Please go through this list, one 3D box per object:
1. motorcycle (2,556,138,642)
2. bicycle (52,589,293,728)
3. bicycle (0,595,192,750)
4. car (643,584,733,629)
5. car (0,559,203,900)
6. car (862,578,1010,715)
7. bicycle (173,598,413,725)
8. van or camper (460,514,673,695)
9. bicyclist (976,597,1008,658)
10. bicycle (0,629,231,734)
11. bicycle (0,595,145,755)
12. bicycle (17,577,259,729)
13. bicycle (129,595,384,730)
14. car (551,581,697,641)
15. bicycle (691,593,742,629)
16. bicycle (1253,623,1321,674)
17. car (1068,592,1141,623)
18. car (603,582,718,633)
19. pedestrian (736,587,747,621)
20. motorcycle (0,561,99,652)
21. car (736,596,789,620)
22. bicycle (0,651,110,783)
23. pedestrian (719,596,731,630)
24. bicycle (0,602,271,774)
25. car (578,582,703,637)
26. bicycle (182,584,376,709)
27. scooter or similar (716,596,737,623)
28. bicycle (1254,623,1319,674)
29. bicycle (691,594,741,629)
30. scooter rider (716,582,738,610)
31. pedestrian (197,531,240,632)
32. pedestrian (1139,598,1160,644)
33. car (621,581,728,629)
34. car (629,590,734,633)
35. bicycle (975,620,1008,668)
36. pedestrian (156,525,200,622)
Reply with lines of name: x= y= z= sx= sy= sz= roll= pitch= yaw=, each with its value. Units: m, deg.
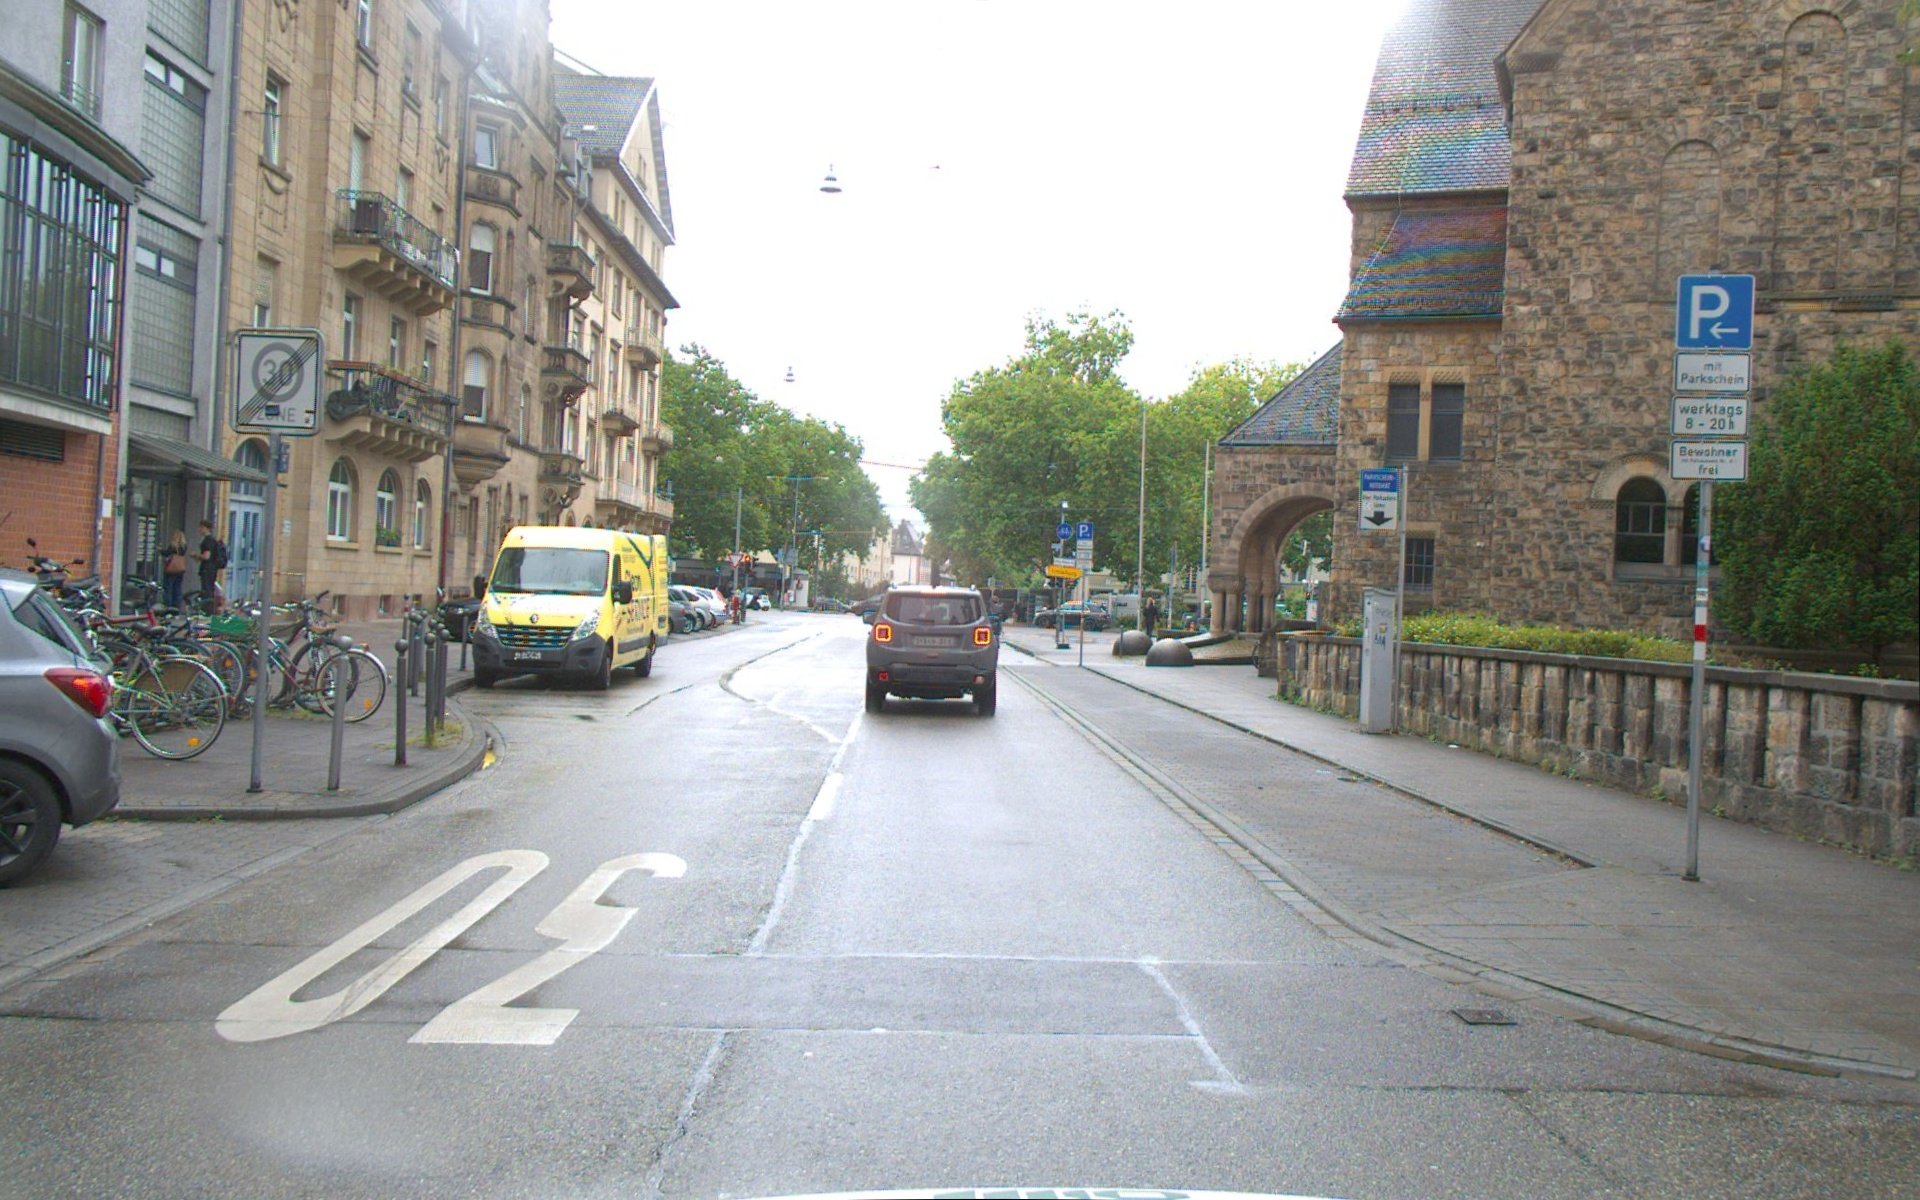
motorcycle: x=-13.327 y=0.005 z=24.822 sx=0.560 sy=1.194 sz=1.780 roll=4 pitch=-1 yaw=21
bicycle: x=-7.161 y=0.525 z=15.081 sx=1.875 sy=1.116 sz=0.506 roll=4 pitch=0 yaw=-1
bicycle: x=-7.087 y=0.559 z=13.088 sx=1.691 sy=1.116 sz=0.505 roll=4 pitch=0 yaw=-10
car: x=-11.069 y=0.270 z=67.332 sx=3.218 sy=1.586 sz=1.516 roll=4 pitch=-1 yaw=-36
car: x=-5.749 y=0.510 z=7.700 sx=3.782 sy=1.533 sz=1.967 roll=3 pitch=-1 yaw=-32
car: x=-0.411 y=0.608 z=23.512 sx=1.861 sy=1.700 sz=4.503 roll=2 pitch=0 yaw=-3
bicycle: x=-6.637 y=0.603 z=16.521 sx=2.074 sy=1.116 sz=0.594 roll=4 pitch=0 yaw=-1
van or camper: x=-6.282 y=0.182 z=27.350 sx=2.079 sy=2.575 sz=6.871 roll=-1 pitch=-2 yaw=-2
bicyclist: x=0.767 y=0.654 z=39.688 sx=0.690 sy=1.428 sz=1.171 roll=2 pitch=0 yaw=-2
bicycle: x=-7.096 y=0.677 z=13.869 sx=1.688 sy=0.744 sz=0.506 roll=4 pitch=0 yaw=-2
bicycle: x=-7.135 y=0.532 z=12.403 sx=1.690 sy=1.116 sz=0.506 roll=4 pitch=0 yaw=-7
bicycle: x=-7.167 y=0.456 z=14.459 sx=1.765 sy=1.187 sz=0.568 roll=4 pitch=0 yaw=2
bicycle: x=-6.650 y=0.581 z=15.695 sx=2.090 sy=1.116 sz=0.594 roll=4 pitch=0 yaw=-1
car: x=-10.023 y=0.340 z=49.455 sx=3.822 sy=1.505 sz=1.856 roll=5 pitch=-1 yaw=-43
bicycle: x=-10.425 y=0.472 z=70.848 sx=2.080 sy=1.469 sz=0.535 roll=2 pitch=0 yaw=-22
bicycle: x=7.613 y=1.117 z=38.520 sx=1.491 sy=1.121 sz=0.363 roll=2 pitch=0 yaw=19
car: x=11.674 y=0.593 z=133.838 sx=5.782 sy=2.375 sz=2.060 roll=2 pitch=0 yaw=2
car: x=-10.559 y=0.281 z=58.309 sx=3.467 sy=1.544 sz=1.862 roll=4 pitch=-1 yaw=-35
pedestrian: x=-10.633 y=0.197 z=80.499 sx=0.458 sy=1.613 sz=0.752 roll=2 pitch=0 yaw=-3
motorcycle: x=-13.102 y=0.084 z=23.033 sx=0.737 sy=1.194 sz=2.117 roll=5 pitch=0 yaw=10
car: x=-13.177 y=0.537 z=110.517 sx=3.120 sy=1.527 sz=1.543 roll=1 pitch=0 yaw=15
bicycle: x=-6.583 y=0.728 z=10.850 sx=1.687 sy=0.783 sz=0.506 roll=4 pitch=0 yaw=-1
pedestrian: x=-11.368 y=0.614 z=80.017 sx=0.458 sy=1.613 sz=0.659 roll=2 pitch=0 yaw=-3
bicycle: x=-5.992 y=0.628 z=11.990 sx=1.690 sy=1.116 sz=0.506 roll=4 pitch=0 yaw=-7
car: x=-10.615 y=0.316 z=55.107 sx=3.628 sy=1.586 sz=1.784 roll=4 pitch=-1 yaw=-39
bicycle: x=-7.400 y=0.515 z=18.020 sx=1.794 sy=1.234 sz=0.623 roll=5 pitch=-3 yaw=-38
scooter or similar: x=-10.884 y=0.435 z=77.133 sx=0.834 sy=1.233 sz=0.986 roll=2 pitch=-2 yaw=-2
bicycle: x=7.681 y=1.135 z=38.931 sx=1.456 sy=1.121 sz=0.363 roll=2 pitch=0 yaw=19
bicycle: x=-10.594 y=0.501 z=71.835 sx=2.063 sy=1.469 sz=0.487 roll=2 pitch=0 yaw=-22
scooter rider: x=-10.857 y=-0.185 z=77.167 sx=0.862 sy=1.241 sz=0.983 roll=2 pitch=-2 yaw=-2
pedestrian: x=-13.462 y=-0.329 z=30.032 sx=0.652 sy=1.788 sz=0.790 roll=2 pitch=0 yaw=-25
pedestrian: x=7.310 y=0.819 z=63.811 sx=0.677 sy=1.741 sz=0.684 roll=2 pitch=0 yaw=-2
car: x=-11.043 y=0.197 z=64.029 sx=3.699 sy=1.586 sz=1.651 roll=4 pitch=-1 yaw=-36
car: x=-10.347 y=0.435 z=61.430 sx=3.385 sy=1.339 sz=1.757 roll=4 pitch=-1 yaw=-35
bicycle: x=0.754 y=1.045 z=39.685 sx=0.690 sy=1.072 sz=1.812 roll=2 pitch=0 yaw=-1
pedestrian: x=-14.053 y=-0.469 z=29.739 sx=0.652 sy=1.704 sz=0.790 roll=2 pitch=0 yaw=-25
